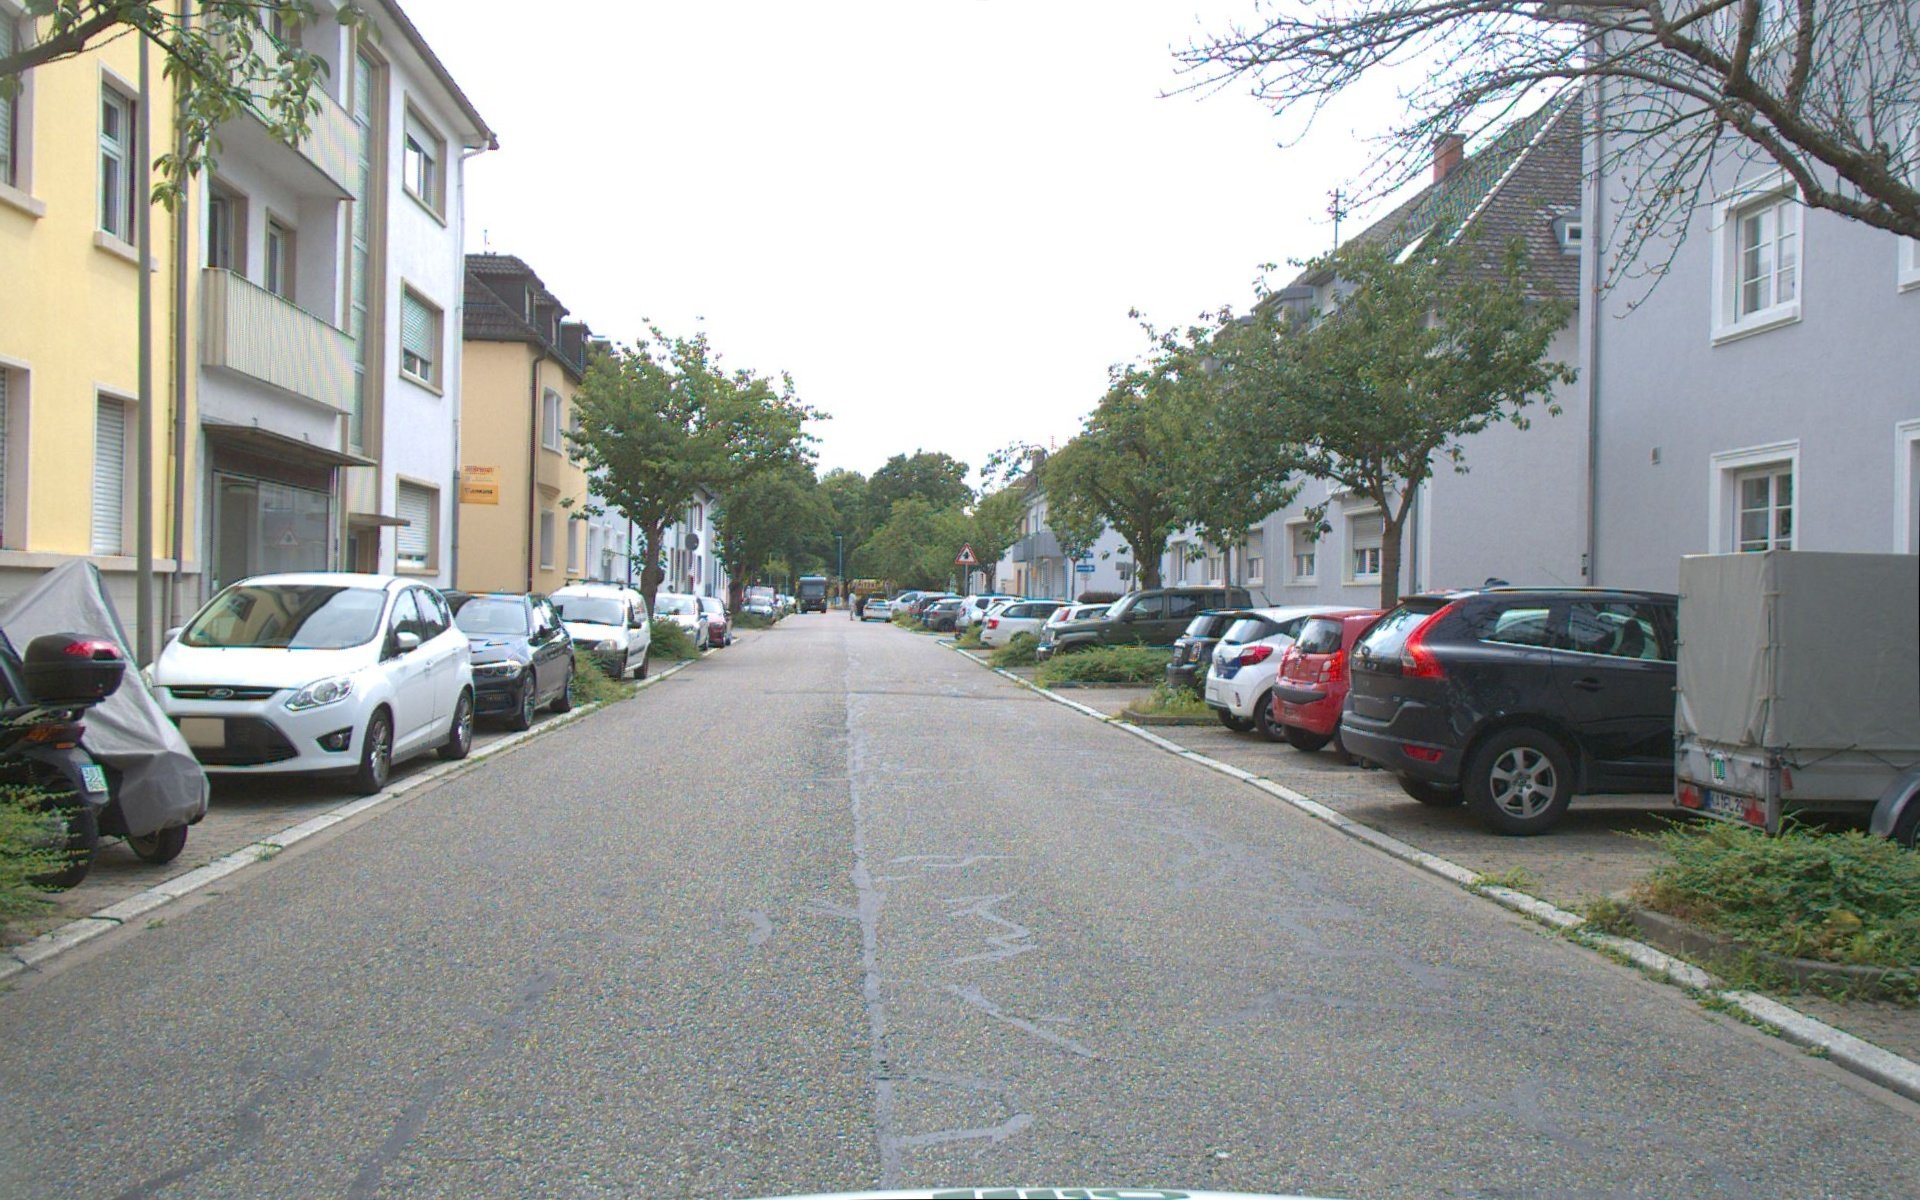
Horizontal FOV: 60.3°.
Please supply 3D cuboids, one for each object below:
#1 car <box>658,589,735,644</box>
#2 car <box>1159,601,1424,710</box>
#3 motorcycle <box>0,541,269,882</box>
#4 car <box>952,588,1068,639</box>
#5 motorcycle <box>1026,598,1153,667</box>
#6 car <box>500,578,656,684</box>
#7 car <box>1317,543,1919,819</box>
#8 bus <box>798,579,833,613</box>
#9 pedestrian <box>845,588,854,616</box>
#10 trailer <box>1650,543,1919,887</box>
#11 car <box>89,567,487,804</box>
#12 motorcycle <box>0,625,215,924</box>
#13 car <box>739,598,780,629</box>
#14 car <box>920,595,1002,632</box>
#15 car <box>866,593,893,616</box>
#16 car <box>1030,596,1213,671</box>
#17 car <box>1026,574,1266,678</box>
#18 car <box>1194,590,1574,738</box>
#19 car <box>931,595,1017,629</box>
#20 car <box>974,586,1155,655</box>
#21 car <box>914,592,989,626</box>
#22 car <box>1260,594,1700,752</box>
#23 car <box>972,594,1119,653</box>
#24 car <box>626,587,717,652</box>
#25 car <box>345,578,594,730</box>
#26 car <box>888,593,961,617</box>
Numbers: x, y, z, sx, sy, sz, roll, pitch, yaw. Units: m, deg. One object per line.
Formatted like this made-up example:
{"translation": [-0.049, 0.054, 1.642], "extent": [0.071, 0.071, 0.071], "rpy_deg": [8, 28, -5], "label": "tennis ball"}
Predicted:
{"translation": [-7.696, 0.473, 48.622], "extent": [1.840, 1.512, 4.508], "rpy_deg": [-1, 0, -4], "label": "car"}
{"translation": [4.846, 0.783, 24.499], "extent": [3.474, 1.478, 1.807], "rpy_deg": [-1, 0, -5], "label": "car"}
{"translation": [-4.951, 0.543, 9.426], "extent": [2.431, 1.705, 0.933], "rpy_deg": [1, 0, 43], "label": "motorcycle"}
{"translation": [1.694, 0.469, 57.336], "extent": [3.846, 1.661, 1.866], "rpy_deg": [-1, 0, -4], "label": "car"}
{"translation": [2.884, 0.722, 36.959], "extent": [2.650, 1.490, 1.029], "rpy_deg": [1, 0, -9], "label": "motorcycle"}
{"translation": [-6.369, 0.487, 28.033], "extent": [1.880, 1.609, 4.378], "rpy_deg": [-1, 0, -4], "label": "car"}
{"translation": [4.896, 0.529, 12.033], "extent": [4.130, 1.766, 1.903], "rpy_deg": [-1, 0, -2], "label": "car"}
{"translation": [-12.557, -0.347, 144.126], "extent": [2.945, 2.809, 8.915], "rpy_deg": [-1, 0, -5], "label": "bus"}
{"translation": [-6.926, 0.123, 103.714], "extent": [0.511, 1.734, 0.444], "rpy_deg": [-1, 0, -1], "label": "pedestrian"}
{"translation": [5.828, 0.607, 9.765], "extent": [2.900, 1.863, 1.400], "rpy_deg": [-1, 0, -1], "label": "trailer"}
{"translation": [-5.128, 0.581, 13.268], "extent": [1.722, 1.583, 4.252], "rpy_deg": [0, 0, -4], "label": "car"}
{"translation": [-4.887, 0.816, 7.801], "extent": [2.400, 1.334, 0.643], "rpy_deg": [-1, 0, -4], "label": "motorcycle"}
{"translation": [-10.538, 0.698, 86.990], "extent": [1.727, 1.581, 3.730], "rpy_deg": [-1, 0, -1], "label": "car"}
{"translation": [0.026, 0.593, 75.739], "extent": [3.673, 1.592, 1.772], "rpy_deg": [-1, 0, -4], "label": "car"}
{"translation": [-5.091, 0.287, 104.652], "extent": [1.653, 1.378, 3.824], "rpy_deg": [-1, 0, -3], "label": "car"}
{"translation": [3.416, 0.688, 35.251], "extent": [3.557, 1.480, 1.770], "rpy_deg": [-1, 0, -9], "label": "car"}
{"translation": [3.576, 0.491, 32.298], "extent": [4.434, 1.890, 1.792], "rpy_deg": [-1, 0, -2], "label": "car"}
{"translation": [4.869, 0.703, 19.274], "extent": [3.912, 1.557, 1.765], "rpy_deg": [-1, 0, -8], "label": "car"}
{"translation": [0.598, 0.516, 73.026], "extent": [3.673, 1.389, 1.772], "rpy_deg": [-1, 0, -4], "label": "car"}
{"translation": [2.709, 0.528, 43.565], "extent": [4.523, 1.693, 1.891], "rpy_deg": [-1, 0, -4], "label": "car"}
{"translation": [-0.456, 0.444, 83.293], "extent": [3.673, 1.592, 1.772], "rpy_deg": [-1, 0, -4], "label": "car"}
{"translation": [5.236, 0.696, 16.921], "extent": [3.912, 1.435, 1.765], "rpy_deg": [-1, 0, -8], "label": "car"}
{"translation": [2.347, 0.629, 45.991], "extent": [3.909, 1.534, 1.711], "rpy_deg": [-1, 0, -5], "label": "car"}
{"translation": [-7.484, 0.483, 43.304], "extent": [1.737, 1.416, 4.272], "rpy_deg": [7, 0, -4], "label": "car"}
{"translation": [-5.572, 0.577, 19.430], "extent": [1.755, 1.518, 4.808], "rpy_deg": [2, -1, -4], "label": "car"}
{"translation": [-2.452, 0.322, 113.201], "extent": [4.879, 1.545, 1.766], "rpy_deg": [-1, 0, -6], "label": "car"}
